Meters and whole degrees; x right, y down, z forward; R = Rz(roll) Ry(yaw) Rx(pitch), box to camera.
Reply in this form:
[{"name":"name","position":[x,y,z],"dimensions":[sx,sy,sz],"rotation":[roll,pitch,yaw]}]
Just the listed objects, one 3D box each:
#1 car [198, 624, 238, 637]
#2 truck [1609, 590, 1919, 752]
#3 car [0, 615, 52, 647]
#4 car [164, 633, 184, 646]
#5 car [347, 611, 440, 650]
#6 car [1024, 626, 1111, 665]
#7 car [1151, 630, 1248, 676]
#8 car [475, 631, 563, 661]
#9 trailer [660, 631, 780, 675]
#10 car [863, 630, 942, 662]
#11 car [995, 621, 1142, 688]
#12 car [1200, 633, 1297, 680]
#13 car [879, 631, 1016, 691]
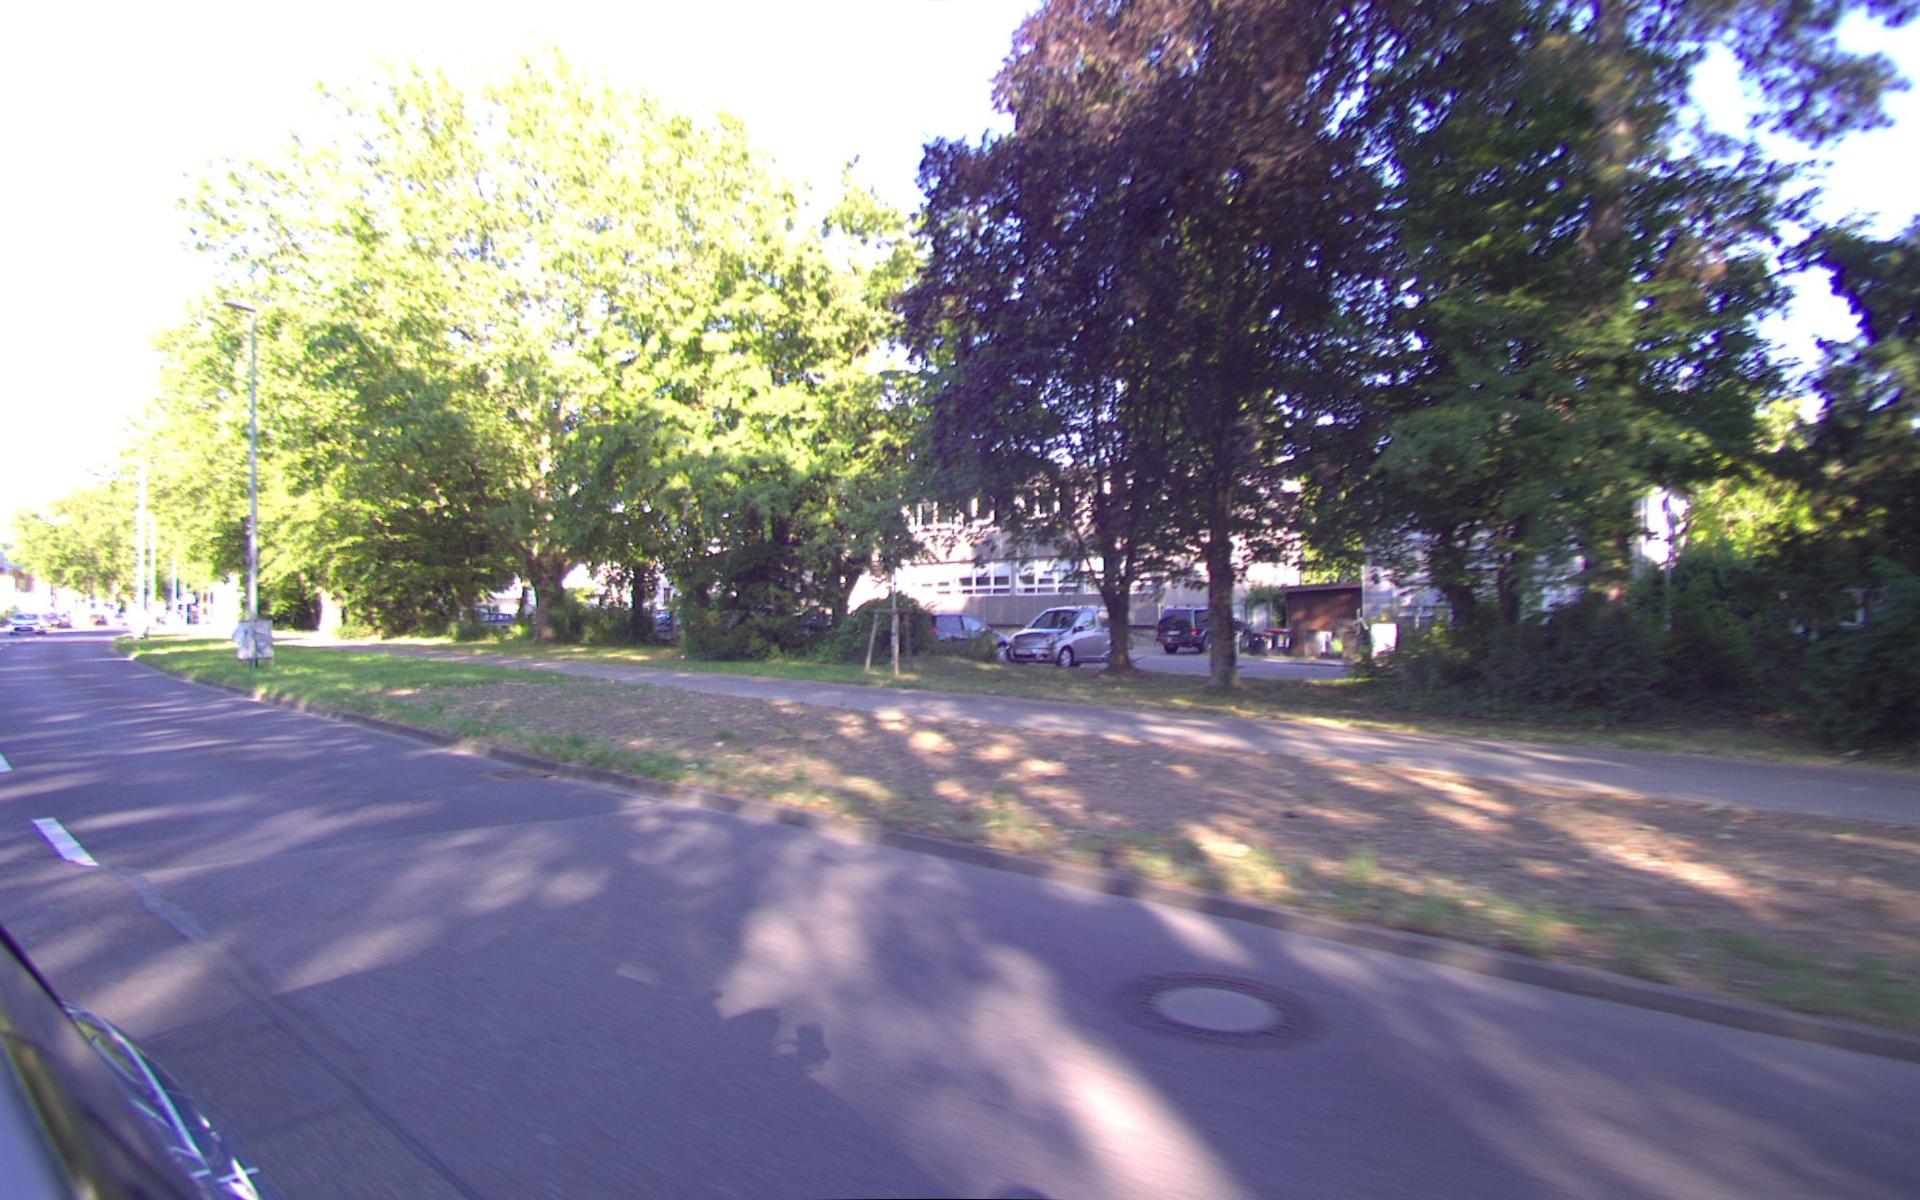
[{"name":"car","position":[-91.101,3.776,124.345],"dimensions":[3.935,1.429,1.918],"rotation":[0,-4,-37]},{"name":"truck","position":[13.749,1.151,17.443],"dimensions":[4.000,2.437,2.057],"rotation":[-1,-3,43]},{"name":"car","position":[-62.082,2.071,67.319],"dimensions":[1.904,2.029,4.010],"rotation":[2,-3,-35]},{"name":"car","position":[-100.387,5.060,129.323],"dimensions":[1.737,1.495,4.118],"rotation":[0,-2,-34]},{"name":"car","position":[-40.384,2.245,72.181],"dimensions":[5.361,2.521,2.190],"rotation":[5,-5,-39]},{"name":"car","position":[4.815,2.007,44.819],"dimensions":[1.929,1.614,3.945],"rotation":[-1,-2,41]},{"name":"car","position":[9.089,1.967,38.228],"dimensions":[1.929,1.645,3.945],"rotation":[-1,-2,41]},{"name":"car","position":[-22.230,2.321,51.068],"dimensions":[1.766,1.475,3.689],"rotation":[-2,-3,43]},{"name":"trailer","position":[-8.987,2.012,38.134],"dimensions":[2.001,1.567,3.941],"rotation":[-3,-4,45]},{"name":"car","position":[-3.002,2.425,53.460],"dimensions":[1.929,1.614,3.945],"rotation":[-2,-4,41]},{"name":"car","position":[2.901,1.414,26.481],"dimensions":[1.929,1.614,3.945],"rotation":[-1,-3,41]},{"name":"car","position":[10.571,2.036,36.895],"dimensions":[1.929,1.614,3.945],"rotation":[-1,-3,41]},{"name":"car","position":[-0.313,1.765,30.037],"dimensions":[1.929,1.614,3.945],"rotation":[-1,-2,41]}]
